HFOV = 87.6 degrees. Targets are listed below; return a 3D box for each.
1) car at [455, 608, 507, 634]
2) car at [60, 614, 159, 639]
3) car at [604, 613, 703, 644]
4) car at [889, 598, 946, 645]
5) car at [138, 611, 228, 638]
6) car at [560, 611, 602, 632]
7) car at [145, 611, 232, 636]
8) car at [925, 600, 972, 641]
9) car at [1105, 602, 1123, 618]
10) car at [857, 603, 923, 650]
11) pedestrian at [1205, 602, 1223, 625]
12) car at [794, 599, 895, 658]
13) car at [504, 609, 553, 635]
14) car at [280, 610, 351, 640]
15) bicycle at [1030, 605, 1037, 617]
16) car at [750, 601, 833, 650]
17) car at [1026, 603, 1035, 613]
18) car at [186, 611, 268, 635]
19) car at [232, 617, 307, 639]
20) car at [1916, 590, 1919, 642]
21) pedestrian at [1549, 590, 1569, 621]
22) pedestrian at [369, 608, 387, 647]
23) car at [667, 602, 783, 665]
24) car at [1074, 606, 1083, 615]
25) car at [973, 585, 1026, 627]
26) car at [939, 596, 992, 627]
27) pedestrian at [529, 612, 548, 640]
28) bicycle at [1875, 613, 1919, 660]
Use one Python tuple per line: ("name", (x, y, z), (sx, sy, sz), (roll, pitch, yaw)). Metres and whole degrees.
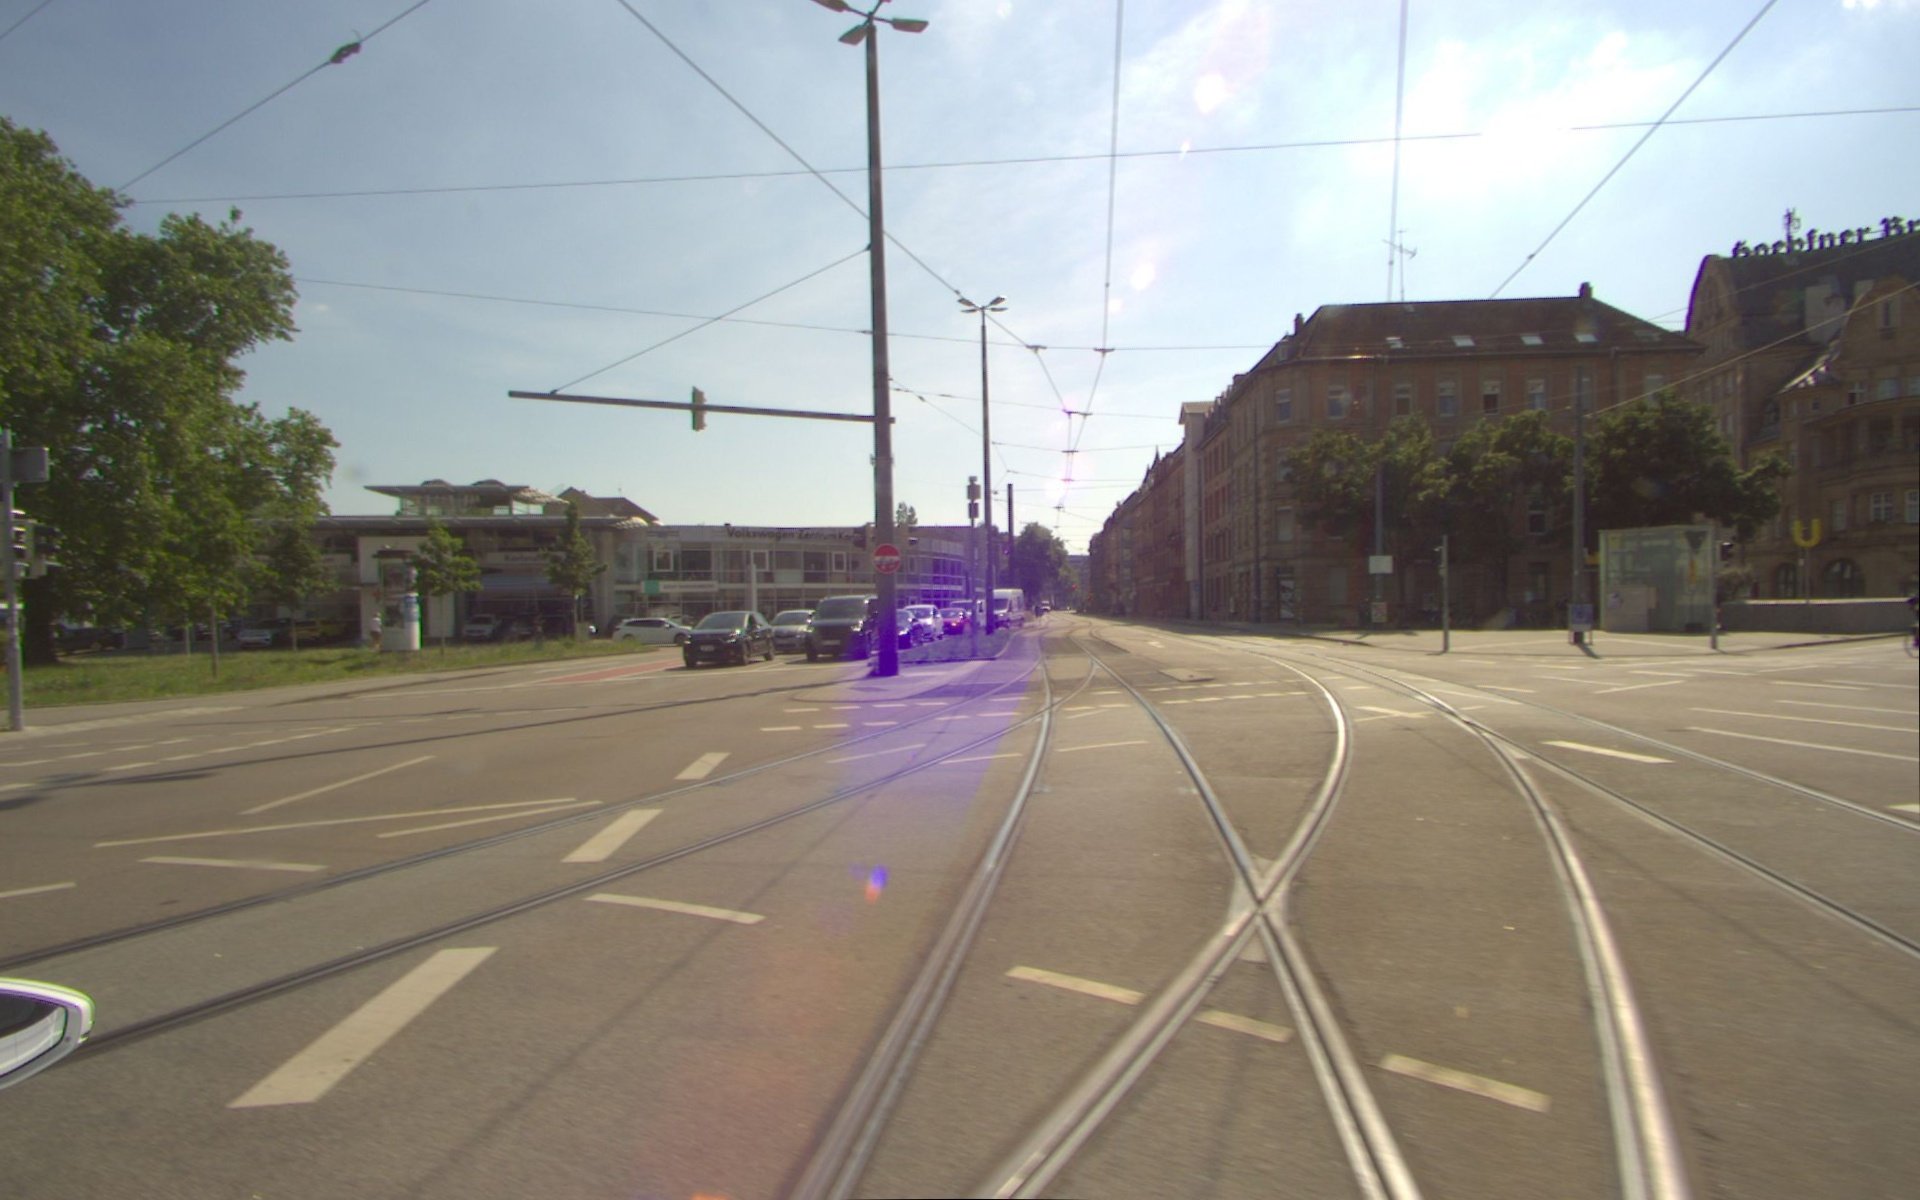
("car", (-29.219, 1.286, 61.218), (1.963, 1.505, 3.997), (1, -1, -12))
("car", (-49.892, 1.539, 58.806), (3.926, 1.389, 1.999), (1, -1, -11))
("car", (-15.489, 1.439, 50.710), (4.510, 1.454, 1.445), (1, -1, 3))
("car", (-1.832, 0.950, 43.974), (1.864, 1.941, 4.201), (-1, -2, 6))
("car", (-48.214, 1.492, 62.209), (3.926, 1.572, 1.998), (-1, 0, -12))
("car", (-23.361, 1.322, 61.877), (1.802, 1.210, 3.997), (2, -1, -12))
("car", (-49.754, 1.526, 64.640), (3.926, 1.528, 1.998), (-1, 0, -12))
("car", (-0.531, 1.068, 51.225), (1.864, 1.941, 4.201), (-1, -2, 6))
("car", (21.050, 1.355, 136.724), (2.074, 2.039, 4.001), (1, -1, 4))
("car", (-2.489, 0.968, 36.443), (1.863, 1.608, 4.001), (-1, -2, 4))
("pedestrian", (16.174, 0.876, 63.830), (0.876, 1.452, 0.707), (0, 1, 41))
("car", (-3.297, 0.793, 29.636), (1.929, 1.608, 4.715), (-1, 0, 7))
("car", (-26.520, 1.370, 61.688), (1.963, 1.505, 3.997), (1, -1, -12))
("car", (-38.739, 1.499, 60.308), (1.962, 1.705, 4.000), (1, -1, -5))
("bicycle", (8.180, 1.213, 111.477), (0.739, 1.210, 2.840), (1, -1, 3))
("car", (-5.882, 0.912, 35.458), (1.864, 1.608, 4.001), (-1, -2, 7))
("car", (16.156, 1.750, 229.742), (1.801, 2.242, 3.999), (-1, 0, 6))
("car", (-49.500, 1.561, 67.706), (3.926, 1.528, 1.998), (-1, 0, -12))
("car", (-40.955, 1.653, 59.497), (1.962, 1.260, 4.000), (1, -1, -5))
("car", (31.631, 0.486, 31.242), (3.943, 1.605, 1.630), (-1, 0, -31))
("pedestrian", (28.363, 0.266, 47.397), (0.704, 1.451, 0.609), (1, -1, 42))
("pedestrian", (-24.874, 1.175, 42.798), (0.386, 1.616, 0.464), (1, -1, 13))
("car", (-6.545, 0.914, 28.414), (1.861, 1.608, 4.210), (-2, -1, 7))
("car", (28.794, 2.482, 243.078), (1.962, 2.040, 3.998), (-1, 0, 9))
("car", (2.665, 0.475, 66.359), (2.175, 2.608, 5.870), (1, -1, 15))
("car", (0.396, 0.681, 58.866), (2.151, 1.702, 5.025), (-1, 0, 12))
("pedestrian", (-24.755, 1.524, 58.835), (0.939, 1.600, 0.533), (1, -1, -14))
("bicycle", (22.628, 0.841, 22.657), (0.914, 1.083, 2.739), (1, -1, -21))
